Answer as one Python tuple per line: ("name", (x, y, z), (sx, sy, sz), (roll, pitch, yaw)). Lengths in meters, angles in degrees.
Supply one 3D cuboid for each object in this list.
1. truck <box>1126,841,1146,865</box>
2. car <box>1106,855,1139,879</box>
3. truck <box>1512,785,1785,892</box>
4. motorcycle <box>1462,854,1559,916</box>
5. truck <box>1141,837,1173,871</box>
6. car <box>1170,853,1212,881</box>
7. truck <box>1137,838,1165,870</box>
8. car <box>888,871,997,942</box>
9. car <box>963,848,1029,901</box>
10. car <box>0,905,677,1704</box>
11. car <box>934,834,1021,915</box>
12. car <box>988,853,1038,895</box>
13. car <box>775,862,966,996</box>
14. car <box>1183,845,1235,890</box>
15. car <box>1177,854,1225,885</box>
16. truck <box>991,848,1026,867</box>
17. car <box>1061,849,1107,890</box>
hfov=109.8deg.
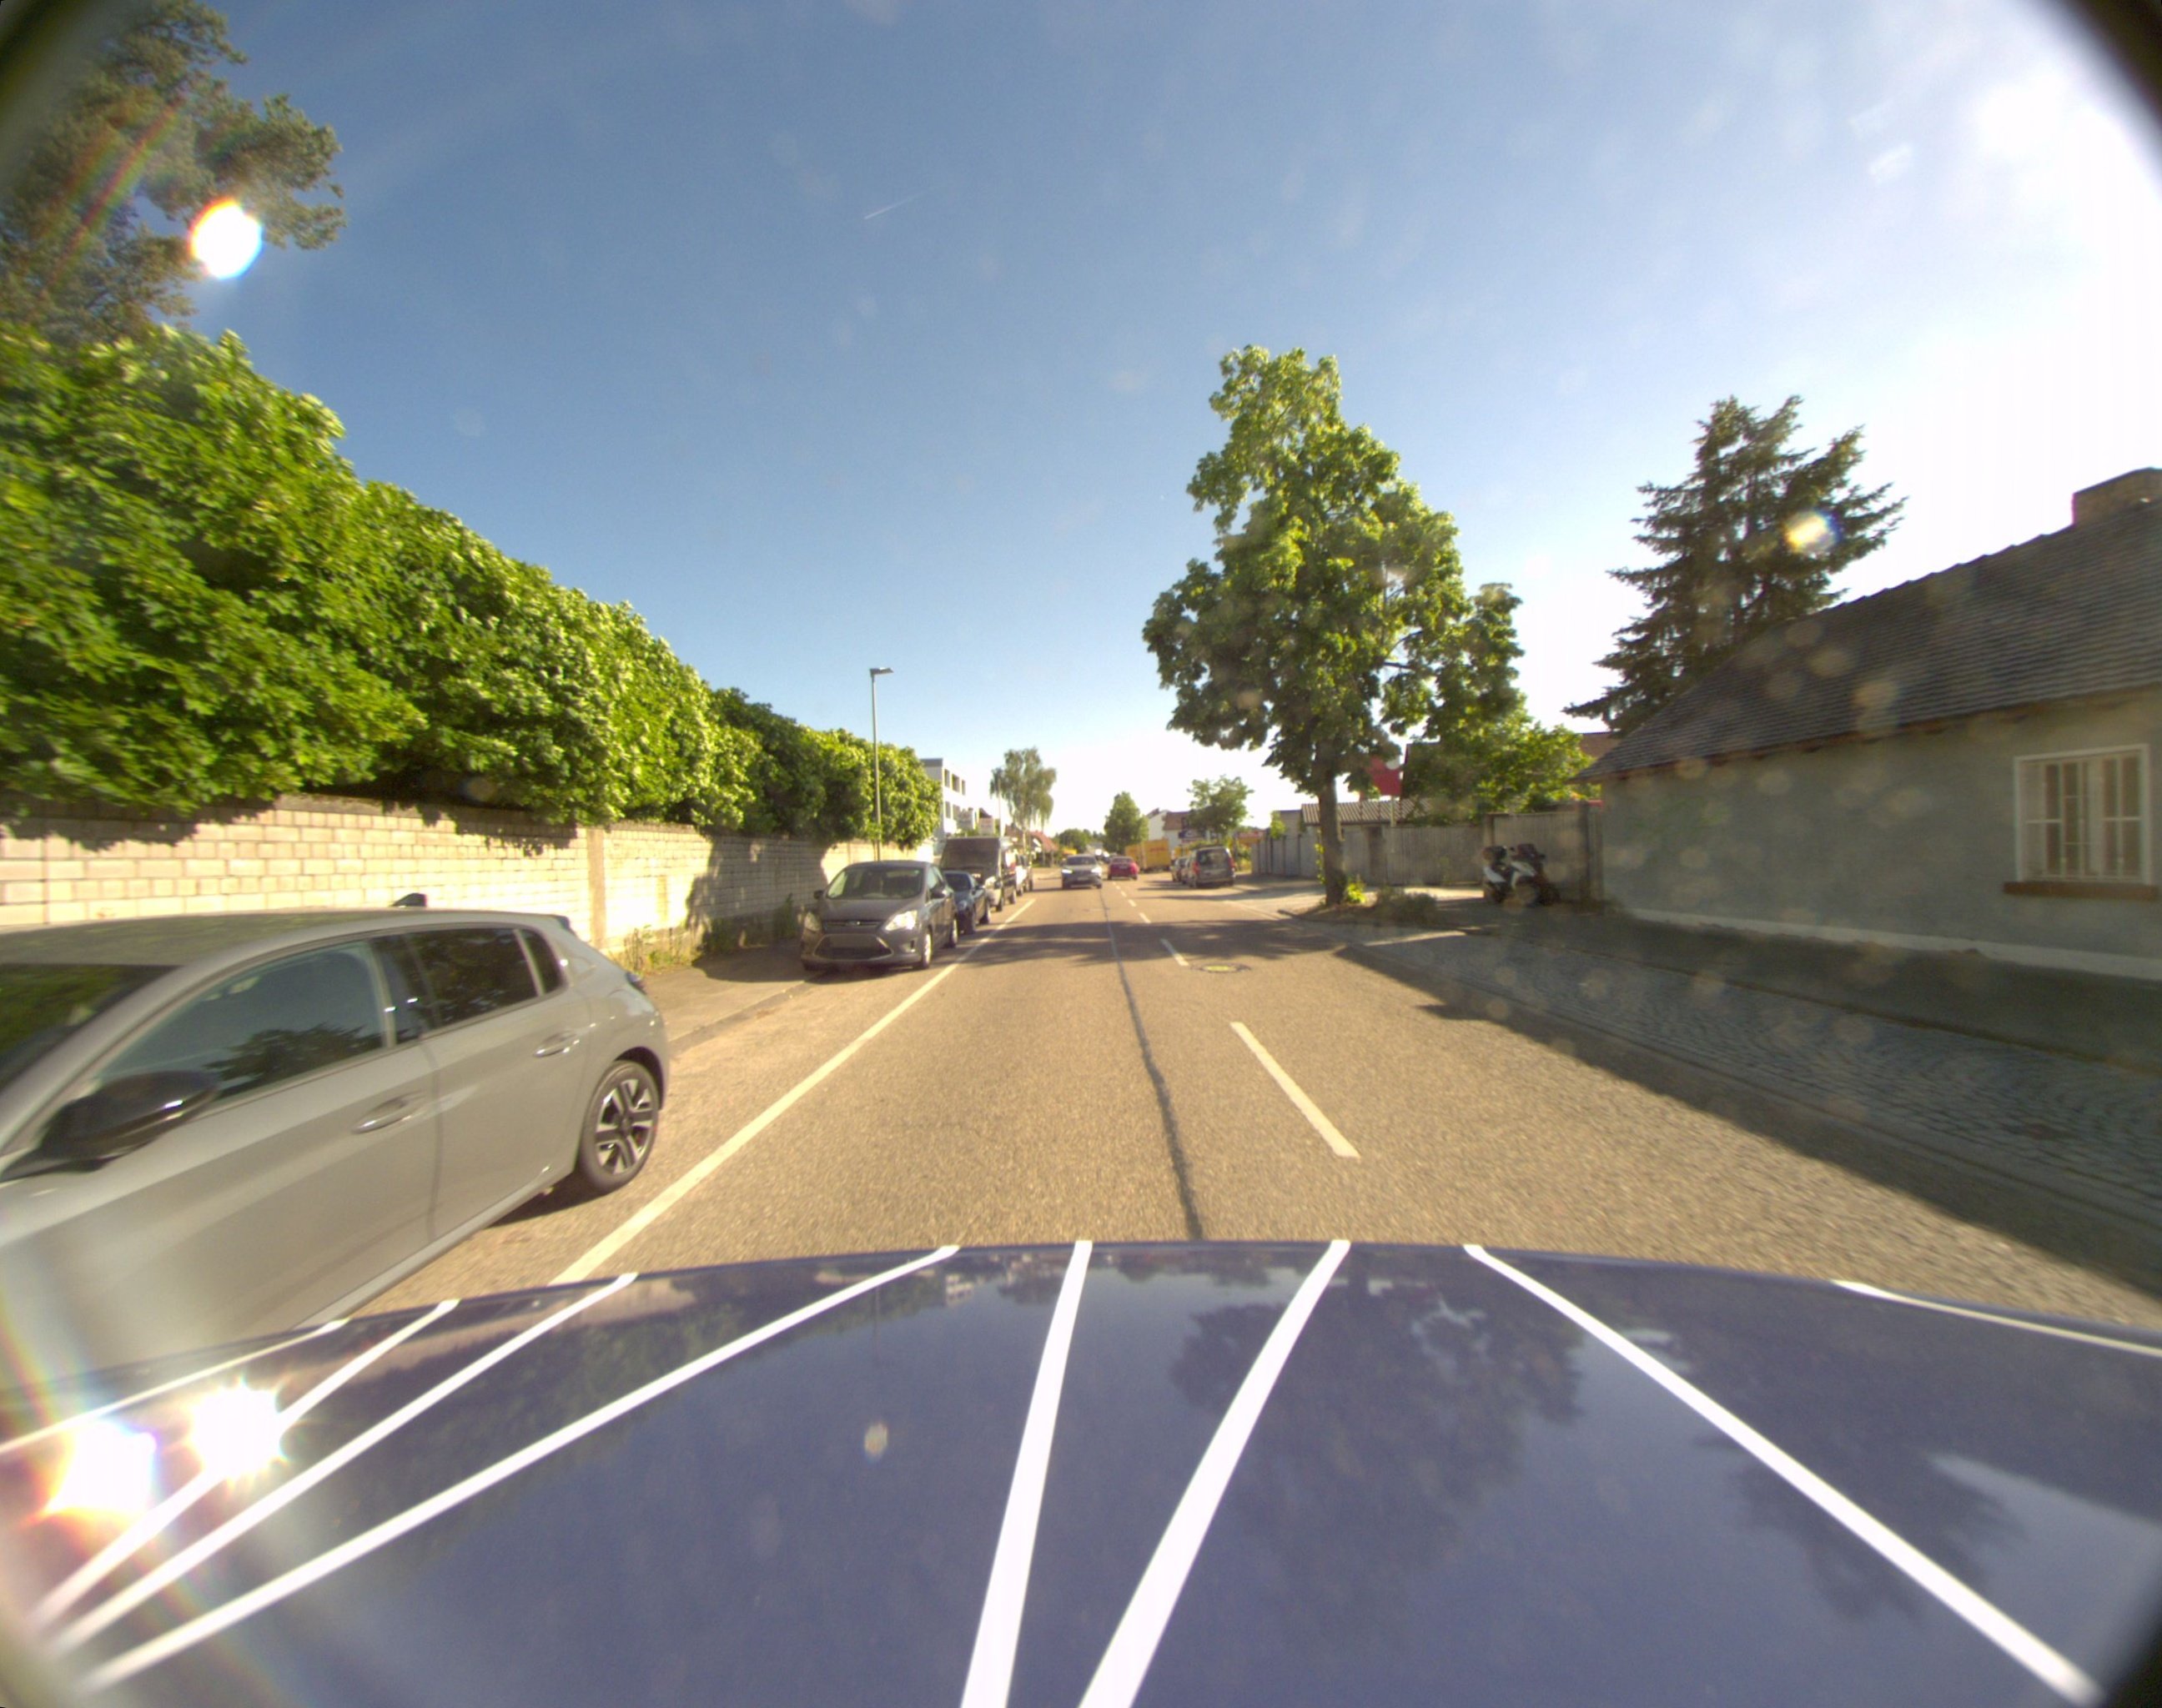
("truck", (7.610, -0.187, 104.978), (2.286, 3.012, 5.910), (-3, 1, 1))
("car", (2.655, 0.770, 47.357), (1.874, 1.412, 4.532), (0, 0, 5))
("truck", (19.627, -0.529, 26.576), (7.431, 3.320, 2.901), (-2, 1, -2))
("motorcycle", (9.643, 0.651, 17.199), (0.701, 1.226, 2.539), (-4, 0, 0))
("truck", (6.605, -0.039, 66.934), (2.173, 2.698, 5.749), (-3, 1, 1))
("car", (6.411, 0.743, 44.885), (1.780, 1.439, 4.923), (-4, 0, 1))
("truck", (6.737, -0.010, 73.775), (2.145, 2.857, 5.749), (-3, 1, 1))
("car", (-3.032, 1.110, 17.456), (1.658, 1.310, 4.104), (-1, 0, 1))
("car", (-3.255, 0.740, 30.030), (1.896, 1.914, 4.921), (-1, 0, 1))
("car", (-3.101, 1.051, 2.154), (1.663, 1.496, 4.031), (-1, 0, 1))
("car", (-3.145, 0.569, 24.093), (1.896, 2.247, 5.145), (-1, 0, 1))
("car", (-3.164, 0.885, 36.169), (1.806, 1.733, 4.911), (-3, 1, 0))
("car", (-3.064, 1.005, 12.024), (1.686, 1.604, 4.205), (-3, 0, 1))
("car", (5.885, 0.593, 35.341), (1.779, 1.838, 4.616), (-4, 0, 4))
("car", (6.293, 0.767, 40.209), (1.780, 1.439, 4.615), (-4, 0, 1))
("truck", (-9.971, 0.451, 104.343), (4.393, 2.451, 1.996), (-2, 0, -24))
("car", (0.145, 0.714, 36.634), (1.998, 1.750, 5.015), (-3, 0, 0))
